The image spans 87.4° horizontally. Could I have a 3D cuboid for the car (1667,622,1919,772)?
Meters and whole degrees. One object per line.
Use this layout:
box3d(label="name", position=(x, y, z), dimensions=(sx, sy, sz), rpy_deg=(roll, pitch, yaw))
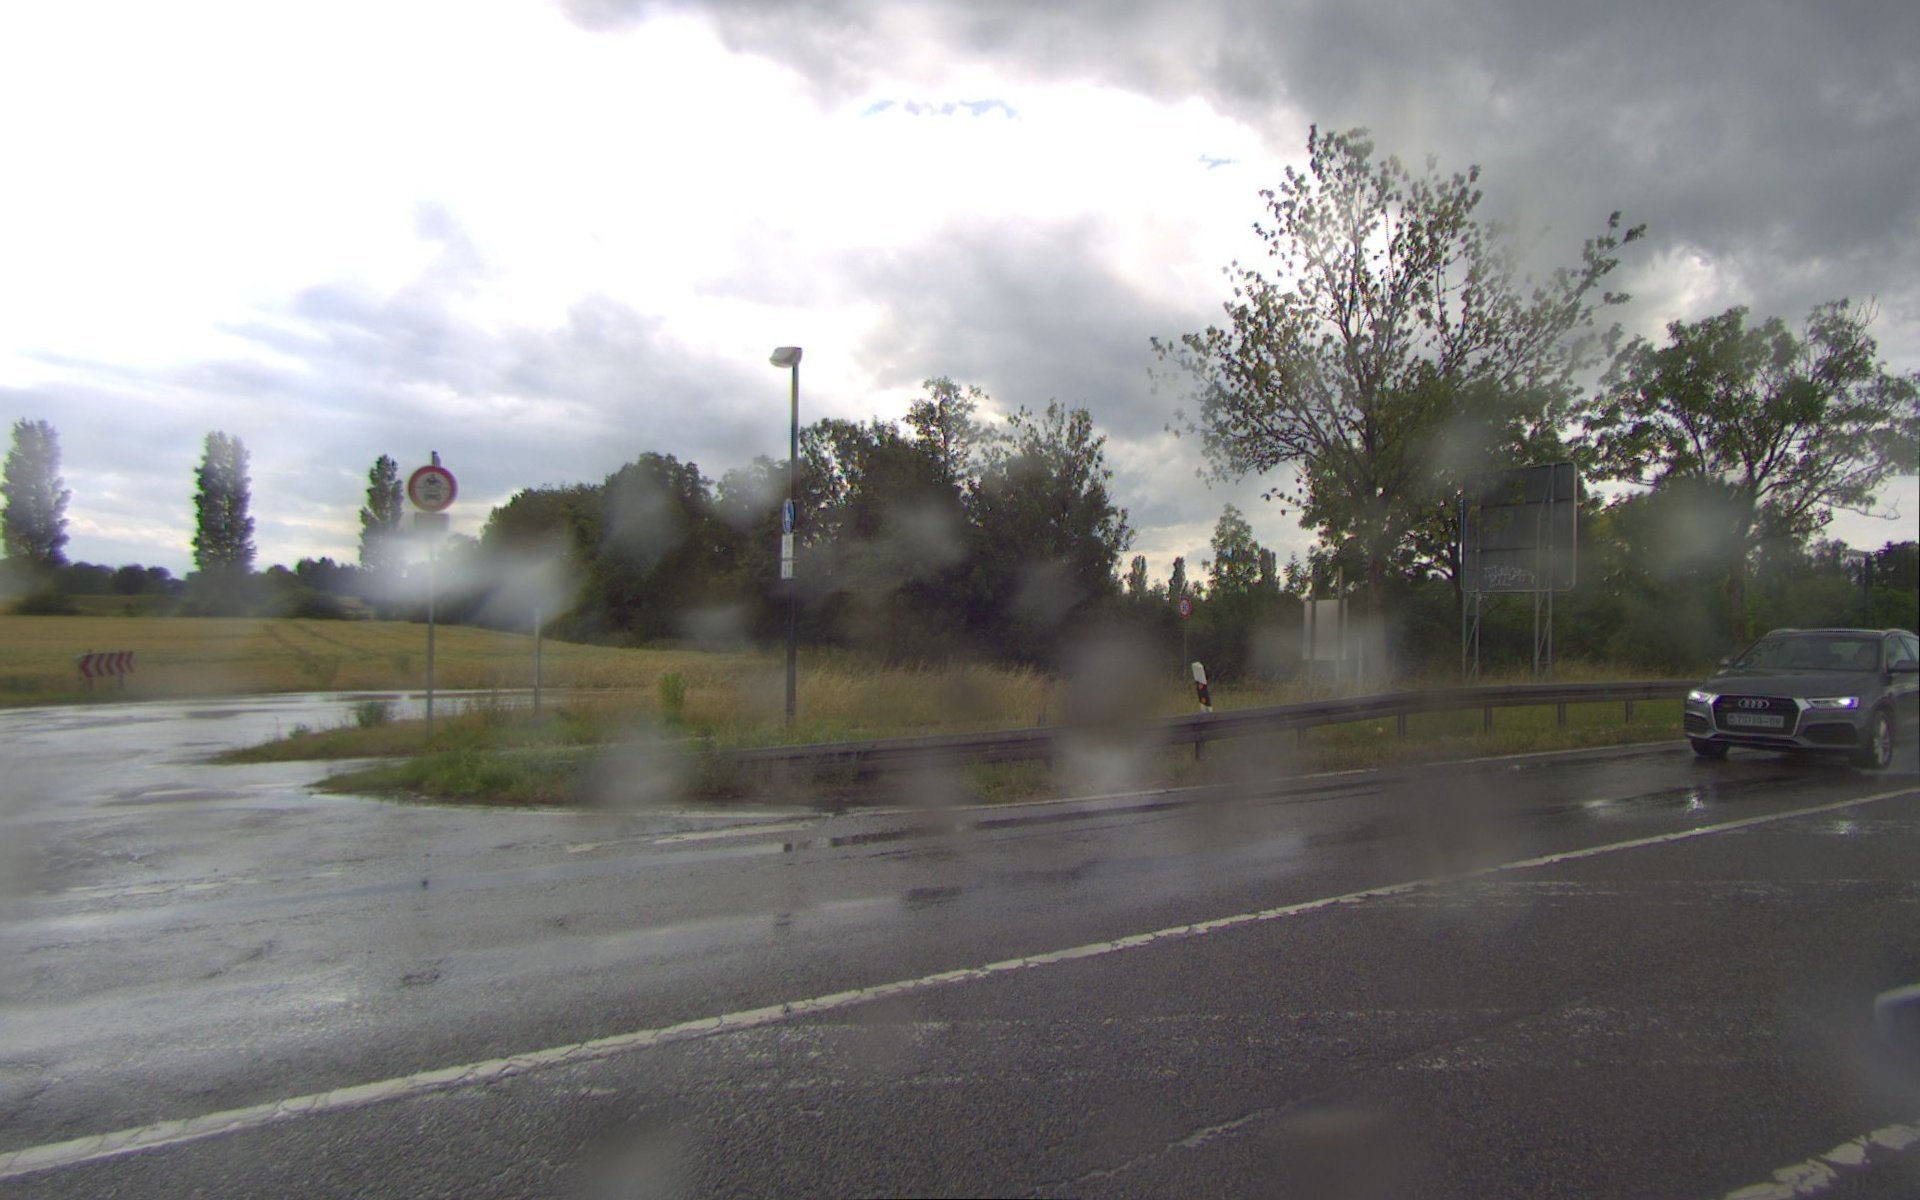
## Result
box3d(label="car", position=(10.613, 1.077, 12.217), dimensions=(4.093, 1.543, 1.760), rpy_deg=(1, -3, -31))
